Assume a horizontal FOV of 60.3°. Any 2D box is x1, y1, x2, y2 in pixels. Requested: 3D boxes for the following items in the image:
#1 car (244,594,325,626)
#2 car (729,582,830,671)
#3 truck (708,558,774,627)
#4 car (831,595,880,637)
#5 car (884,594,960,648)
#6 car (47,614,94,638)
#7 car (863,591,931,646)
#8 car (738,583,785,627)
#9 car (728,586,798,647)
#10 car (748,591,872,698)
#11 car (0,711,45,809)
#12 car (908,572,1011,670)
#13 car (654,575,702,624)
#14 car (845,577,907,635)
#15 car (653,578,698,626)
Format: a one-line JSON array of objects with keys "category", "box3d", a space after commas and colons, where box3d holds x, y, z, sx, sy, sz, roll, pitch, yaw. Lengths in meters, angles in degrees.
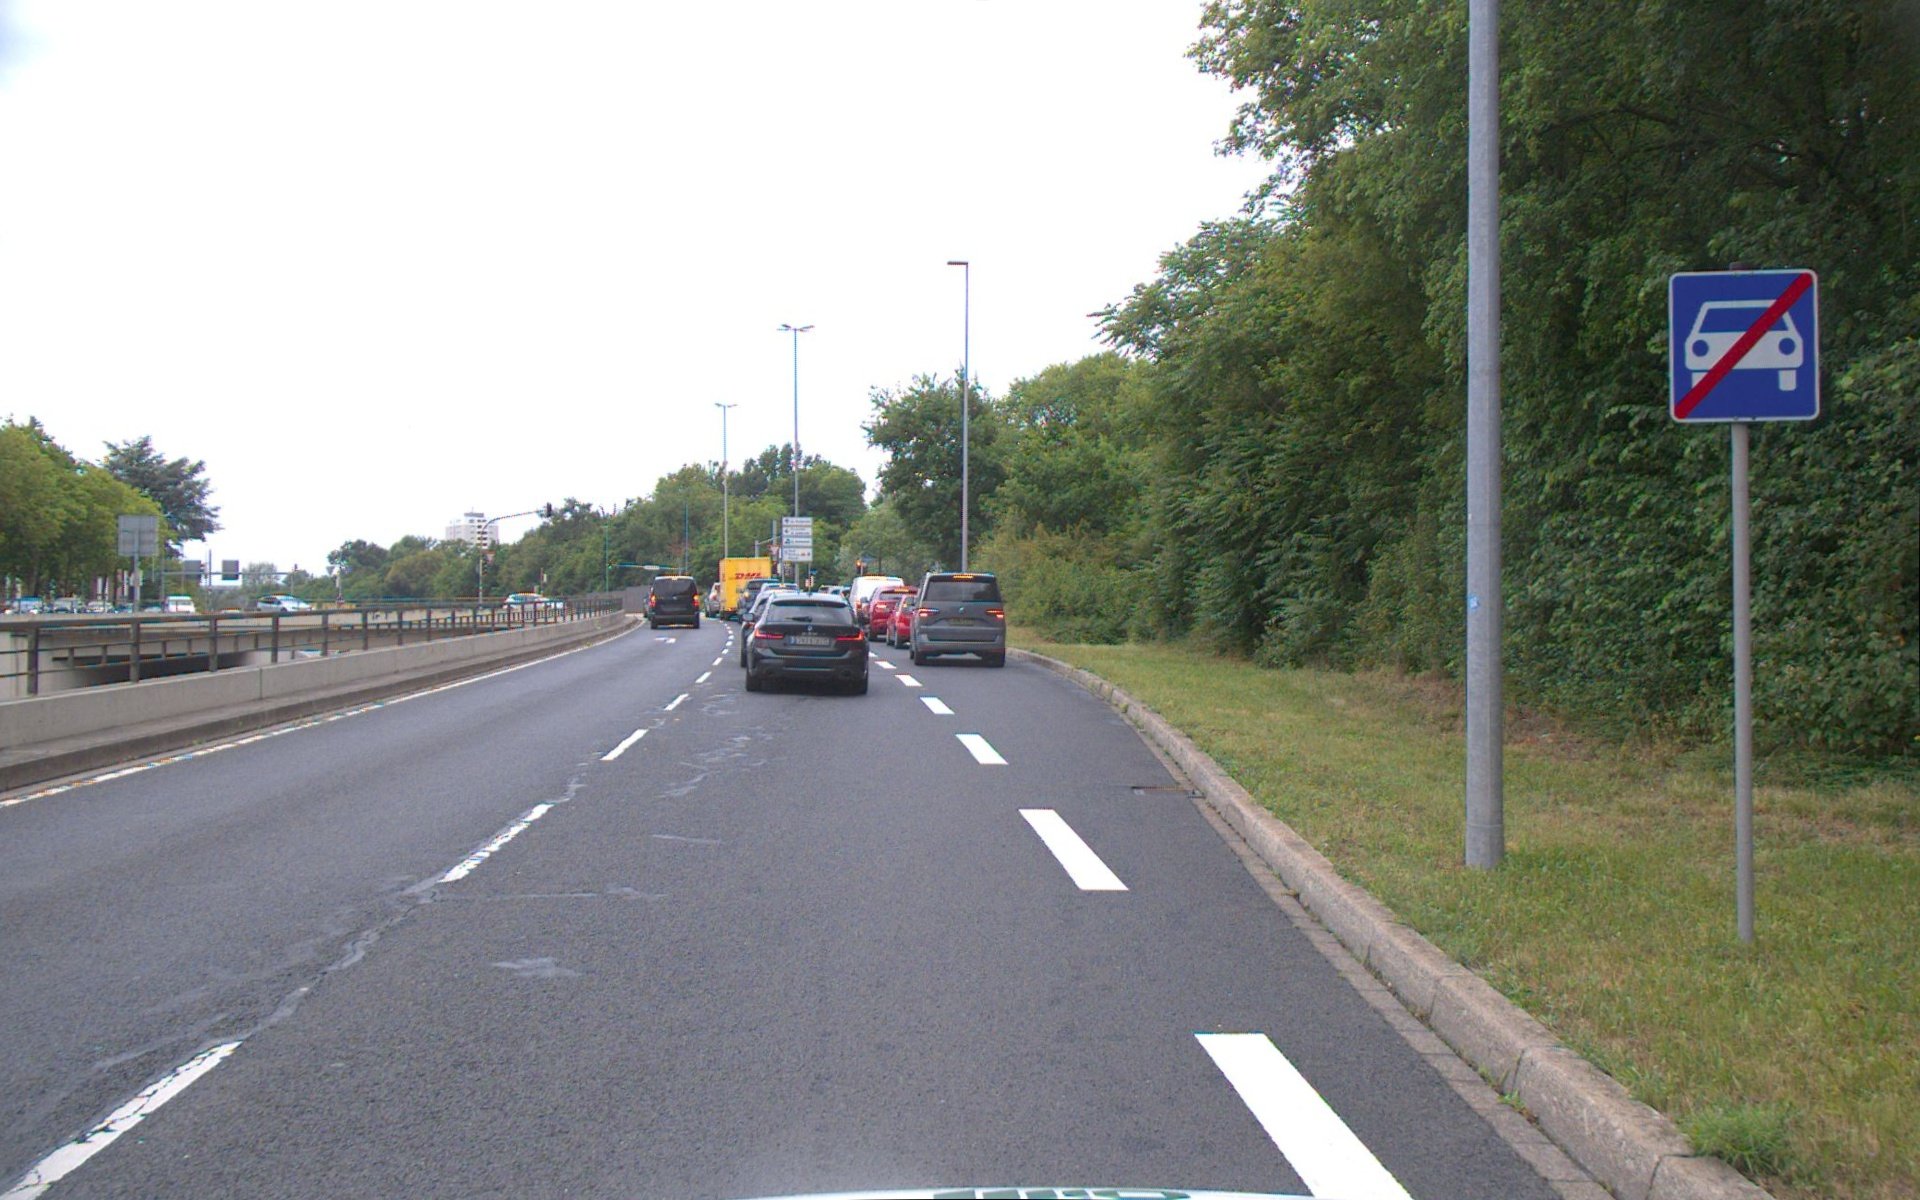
[{"category": "car", "box3d": [-44.827, 0.623, 109.786, 4.692, 2.049, 2.001, 1, 0, 15]}, {"category": "car", "box3d": [-3.630, 0.503, 32.968, 1.849, 1.620, 4.422, 1, 0, -7]}, {"category": "truck", "box3d": [-10.588, -0.313, 79.292, 2.868, 3.097, 9.321, -1, -1, -9]}, {"category": "car", "box3d": [-4.138, 0.611, 65.356, 1.848, 1.572, 3.996, 1, 0, -4]}, {"category": "car", "box3d": [-1.091, 0.556, 45.135, 1.848, 1.379, 3.996, 1, 0, -4]}, {"category": "car", "box3d": [-57.867, 1.675, 107.614, 1.595, 1.466, 3.988, 1, 0, -12]}, {"category": "car", "box3d": [-1.958, 0.556, 50.282, 1.848, 1.572, 3.996, 1, 0, -5]}, {"category": "car", "box3d": [-8.308, 0.202, 69.016, 1.849, 1.730, 4.422, 1, 0, -7]}, {"category": "car", "box3d": [-5.592, 0.457, 46.940, 1.849, 1.620, 4.422, 1, 0, -7]}, {"category": "car", "box3d": [-2.309, 0.614, 25.325, 1.715, 1.451, 4.456, 0, 1, -6]}, {"category": "car", "box3d": [-33.496, 5.491, 54.901, 2.459, 3.081, 7.507, 1, 0, -4]}, {"category": "car", "box3d": [-0.072, 0.433, 35.405, 1.861, 1.917, 4.411, 1, 0, -4]}, {"category": "car", "box3d": [-12.219, -0.012, 71.885, 1.849, 2.022, 4.422, 1, 0, -7]}, {"category": "car", "box3d": [-3.014, 0.215, 58.649, 1.849, 1.912, 4.422, 1, 0, -7]}, {"category": "car", "box3d": [-10.940, 0.090, 63.818, 1.594, 1.731, 4.287, 1, 0, -9]}]
